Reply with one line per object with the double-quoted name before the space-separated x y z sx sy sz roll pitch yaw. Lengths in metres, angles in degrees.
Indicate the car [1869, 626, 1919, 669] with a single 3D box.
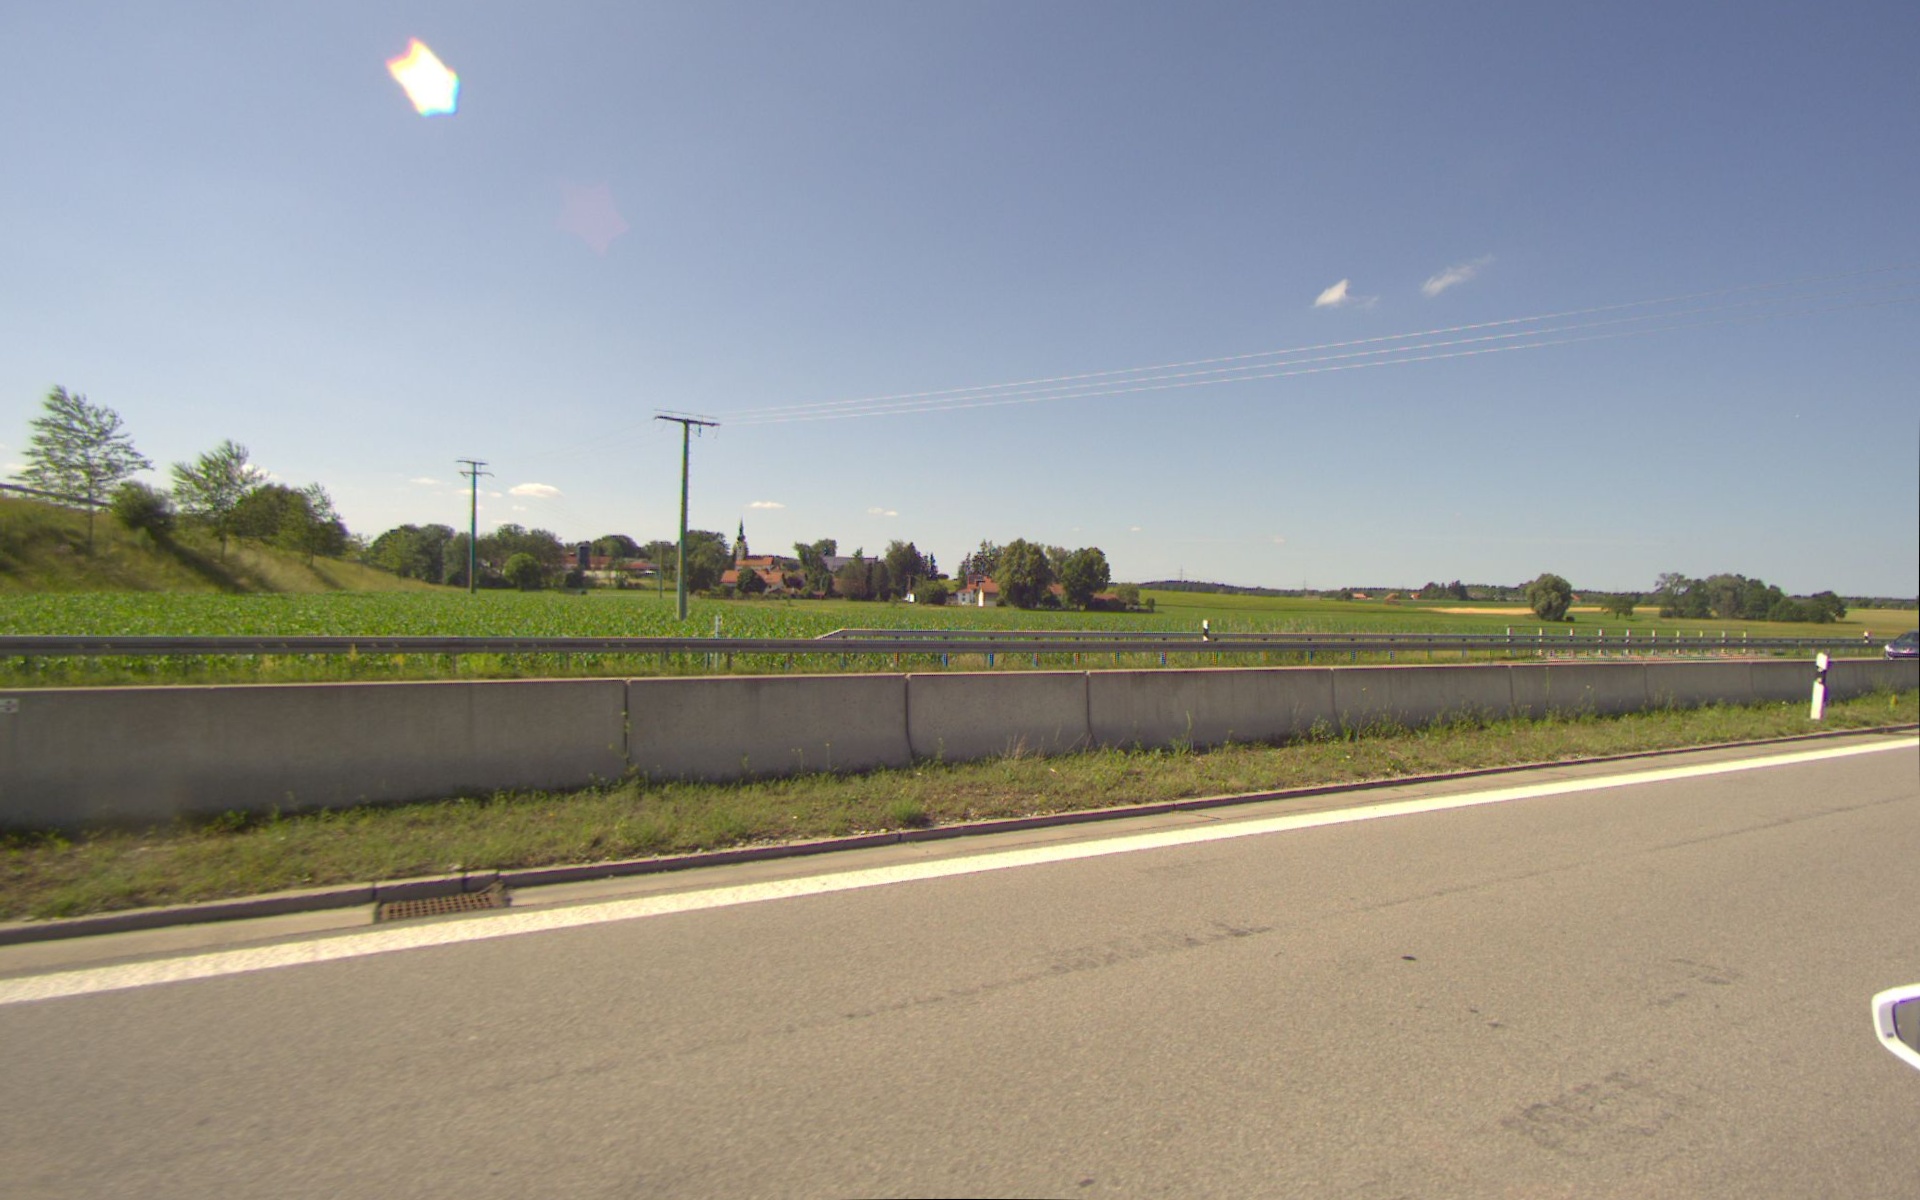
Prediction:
"car" 37.464 1.852 39.061 4.533 1.534 1.850 1 1 -31
